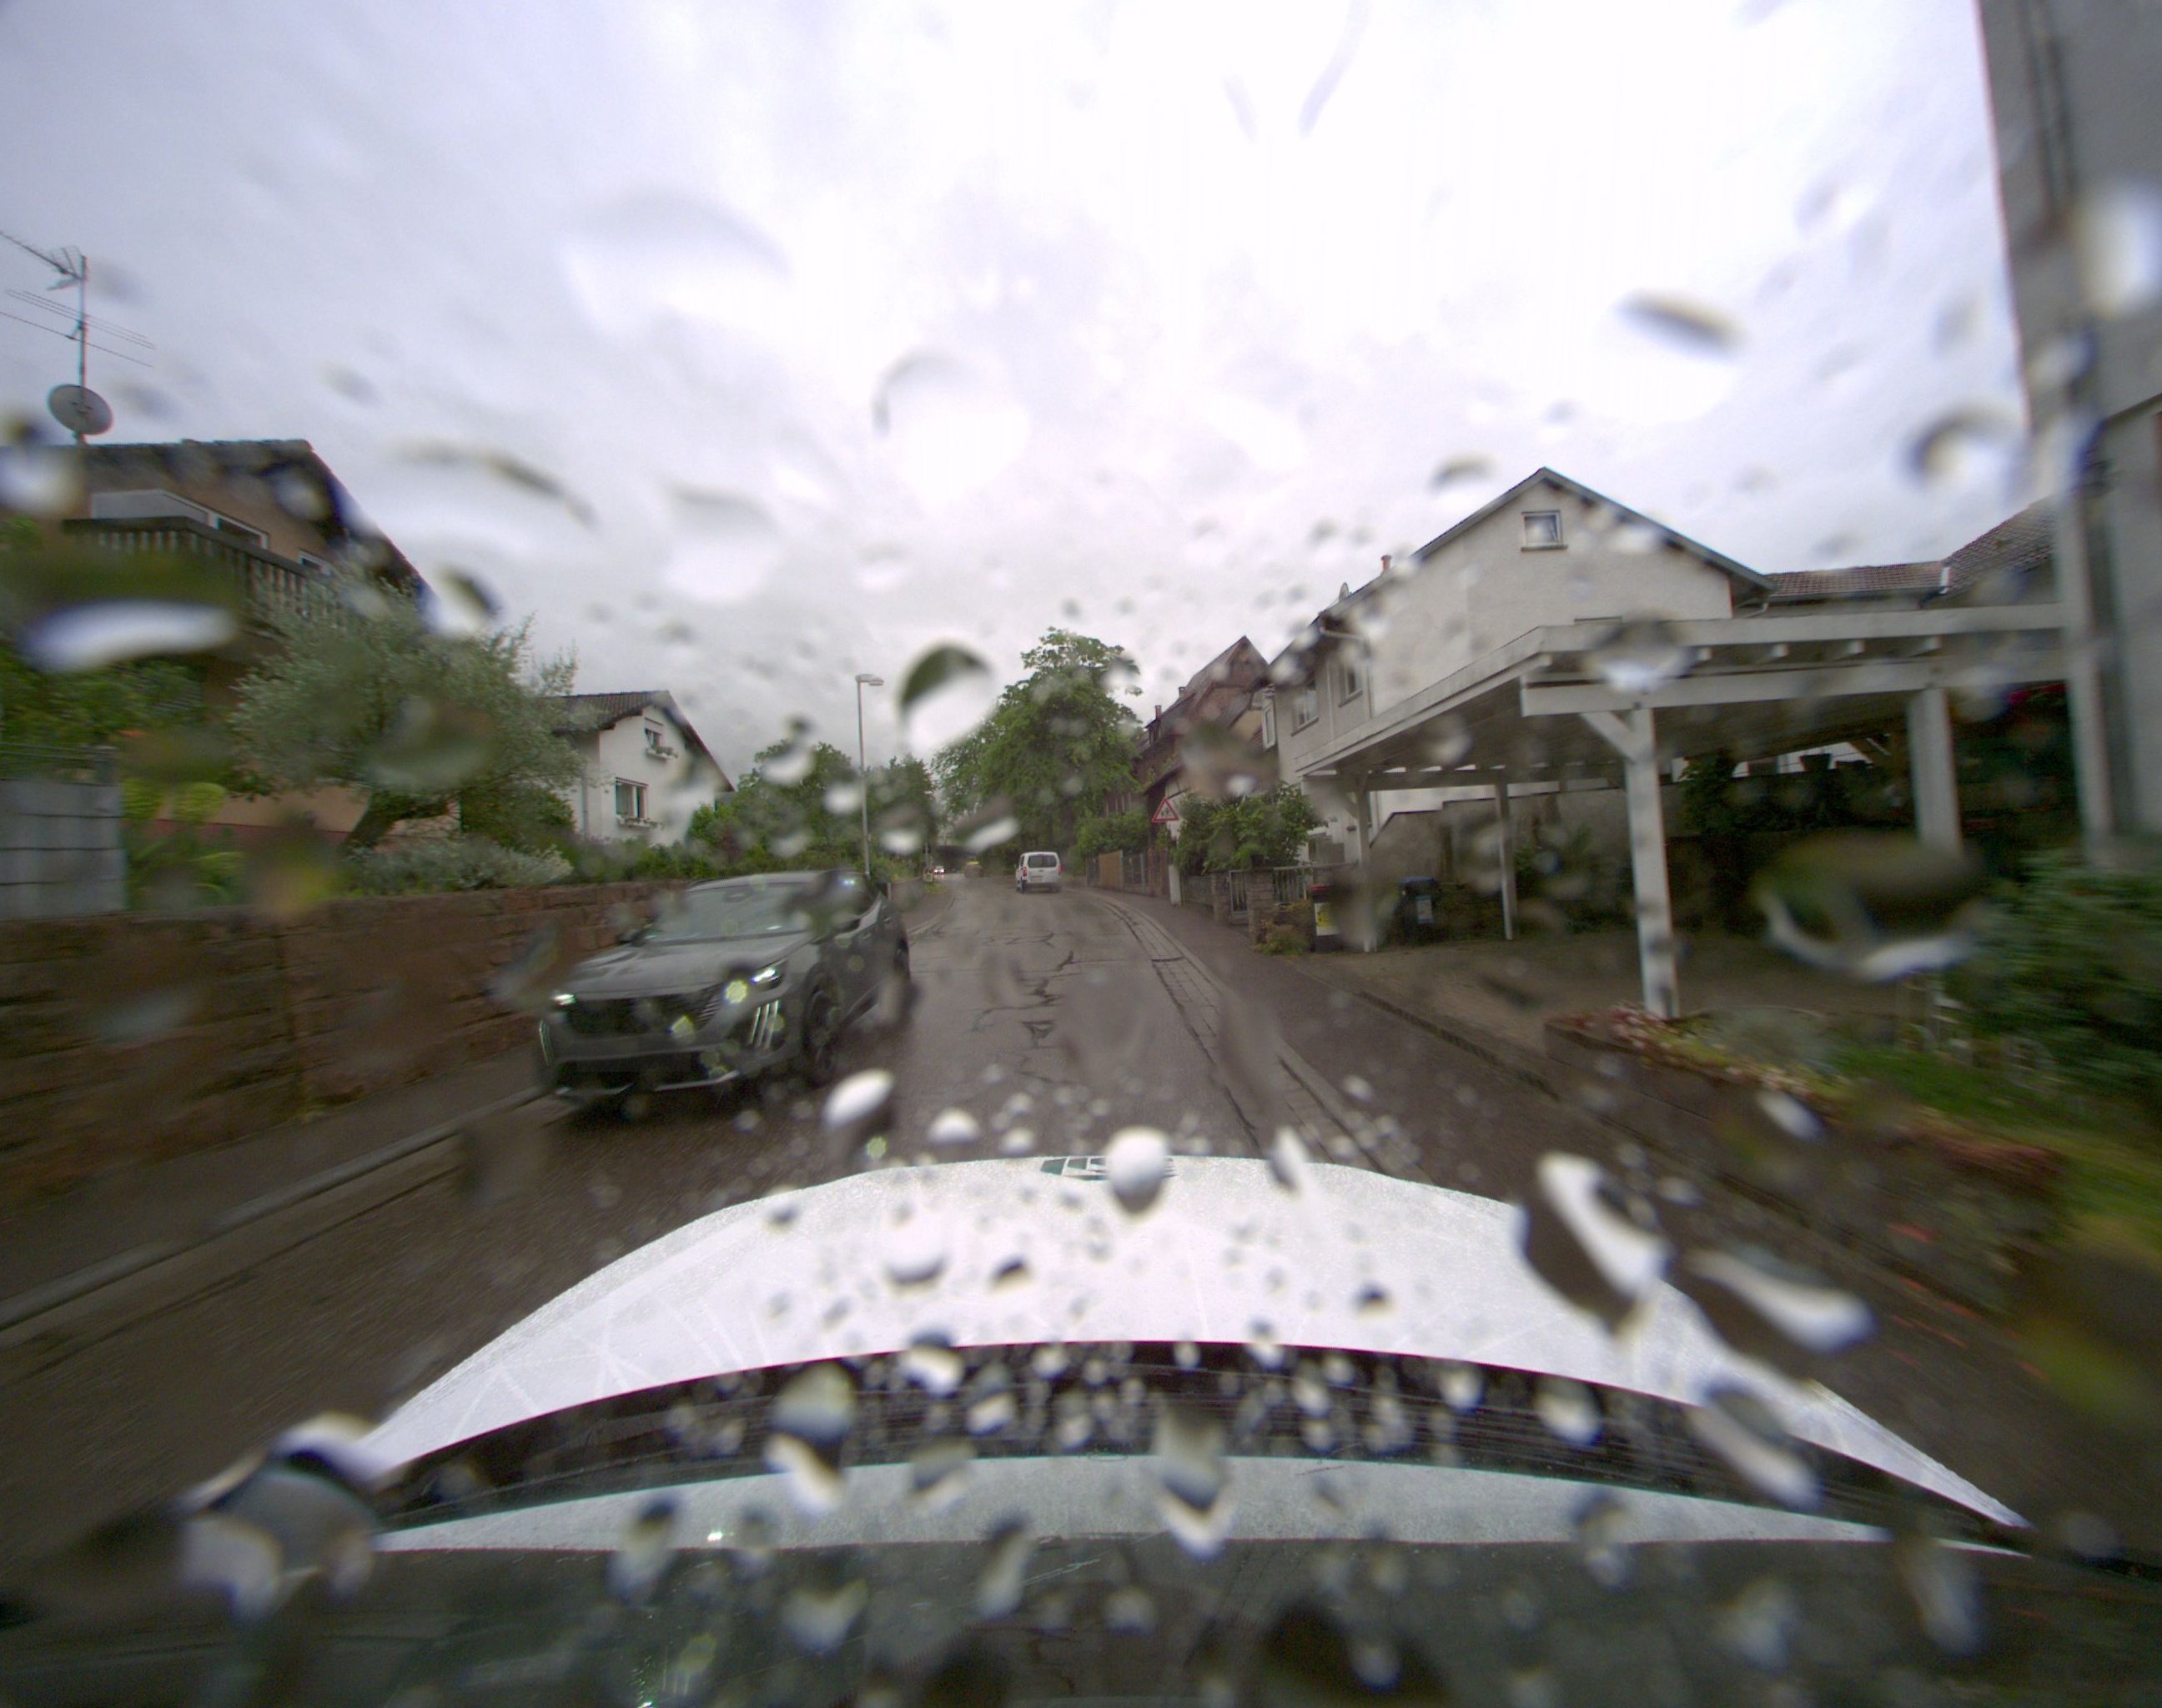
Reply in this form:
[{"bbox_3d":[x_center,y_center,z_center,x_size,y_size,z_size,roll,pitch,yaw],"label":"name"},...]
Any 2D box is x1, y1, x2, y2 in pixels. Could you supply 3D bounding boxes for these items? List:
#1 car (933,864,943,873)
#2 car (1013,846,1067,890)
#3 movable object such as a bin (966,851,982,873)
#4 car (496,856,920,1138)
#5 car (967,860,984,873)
[{"bbox_3d":[-30.355,3.183,172.965,1.825,1.832,4.289,-1,-1,-12],"label":"car"},{"bbox_3d":[-1.936,0.596,37.225,1.897,1.807,3.986,-3,0,-10],"label":"car"},{"bbox_3d":[-12.888,1.019,97.962,1.760,2.548,4.226,-1,-1,-8],"label":"movable object such as a bin"},{"bbox_3d":[-2.639,0.866,6.863,1.695,1.546,3.849,-5,0,-1],"label":"car"},{"bbox_3d":[-11.246,1.329,86.963,1.707,1.377,3.989,-1,-1,-8],"label":"car"}]
